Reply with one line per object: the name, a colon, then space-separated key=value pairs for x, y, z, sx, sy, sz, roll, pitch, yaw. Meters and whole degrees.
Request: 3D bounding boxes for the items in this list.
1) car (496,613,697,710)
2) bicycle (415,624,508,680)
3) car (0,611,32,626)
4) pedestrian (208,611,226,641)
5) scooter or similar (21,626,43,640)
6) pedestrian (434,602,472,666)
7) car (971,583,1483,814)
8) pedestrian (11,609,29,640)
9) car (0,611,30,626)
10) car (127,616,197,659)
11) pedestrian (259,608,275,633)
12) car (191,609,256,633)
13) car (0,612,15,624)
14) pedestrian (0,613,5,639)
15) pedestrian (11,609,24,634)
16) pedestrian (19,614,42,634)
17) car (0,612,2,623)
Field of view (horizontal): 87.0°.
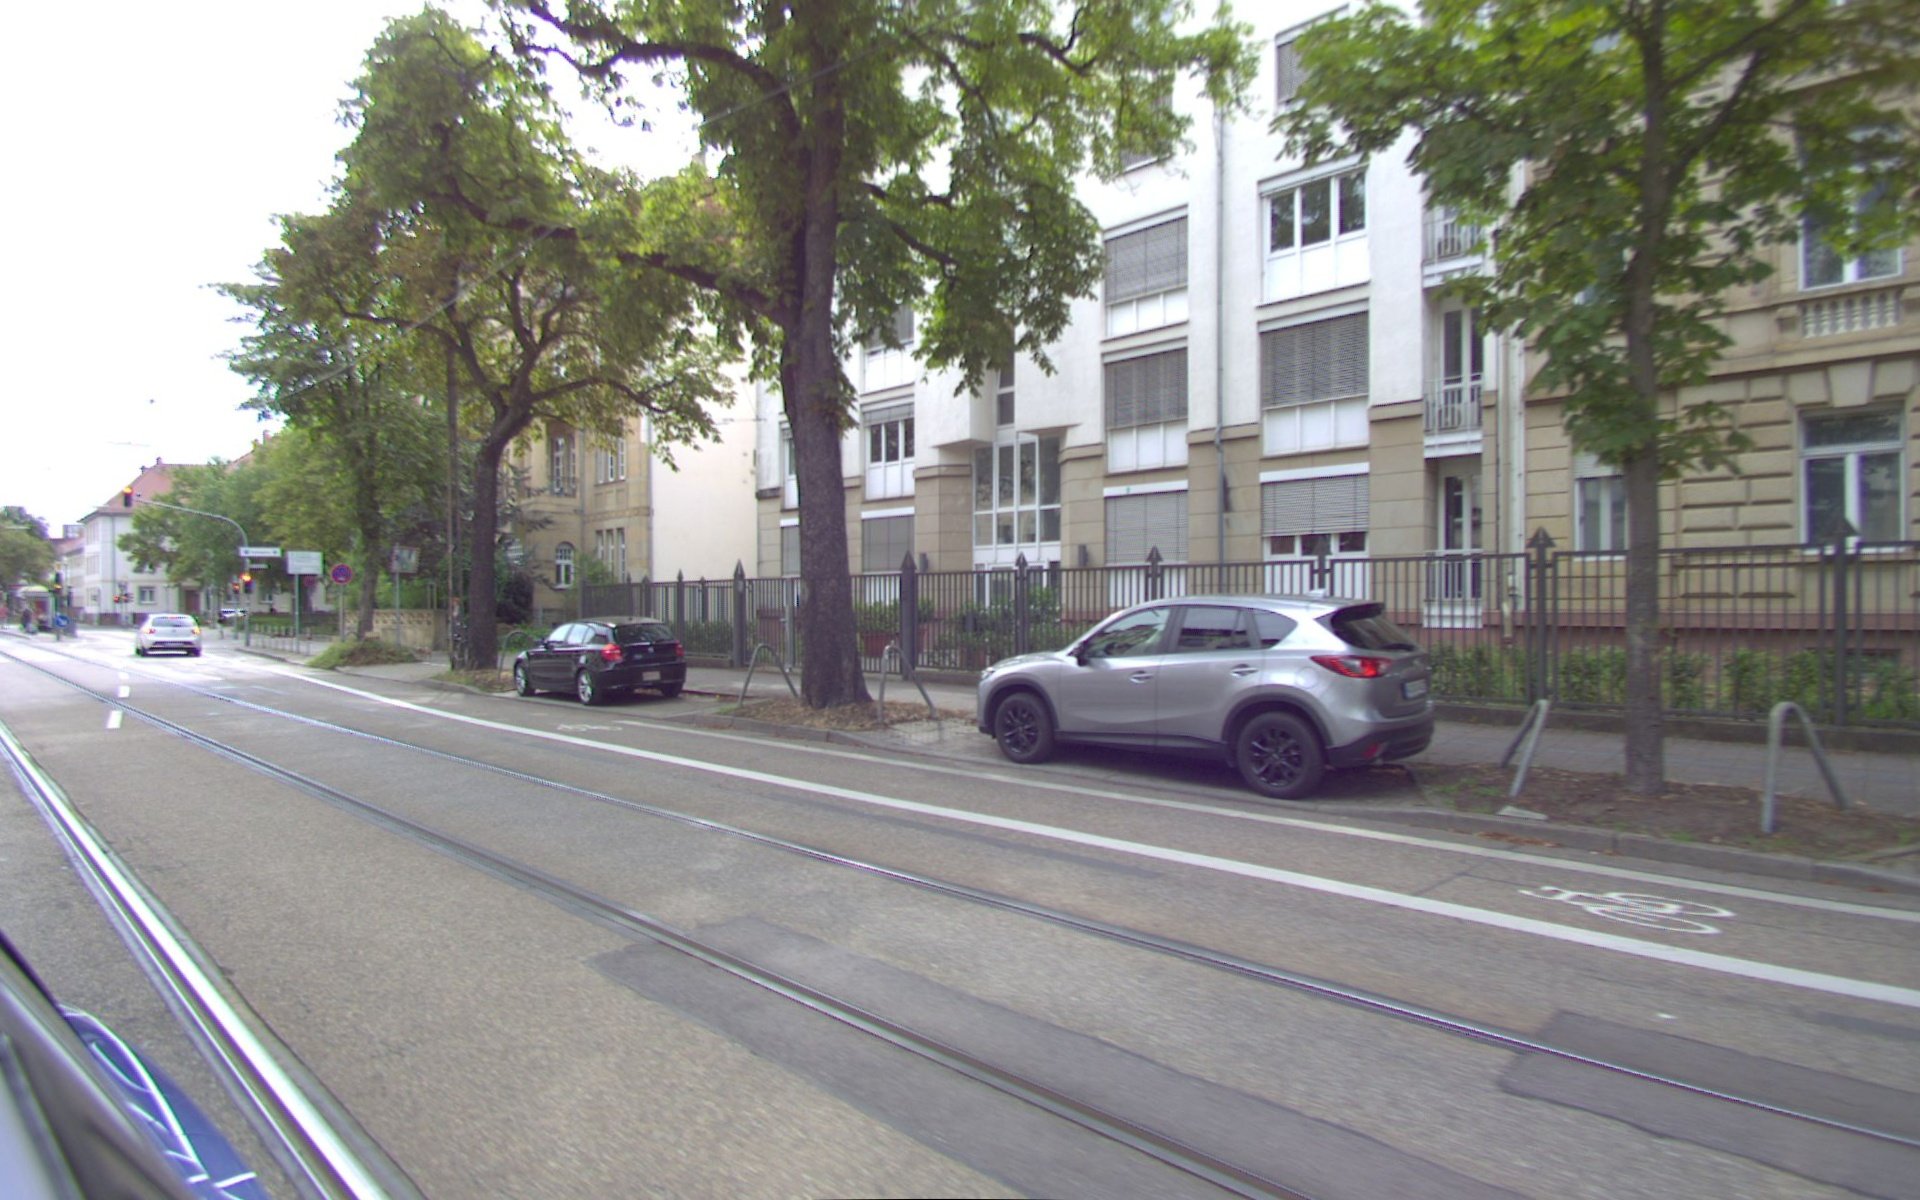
car: x=-6.523 y=0.988 z=17.929 sx=1.701 sy=1.435 sz=4.168 roll=-3 pitch=2 yaw=-45
bicycle: x=-11.815 y=1.209 z=24.096 sx=0.826 sy=1.184 sz=2.229 roll=-1 pitch=0 yaw=10
car: x=-114.289 y=2.265 z=121.618 sx=3.941 sy=1.739 sz=1.878 roll=-1 pitch=0 yaw=-44
pedestrian: x=-41.425 y=1.441 z=56.403 sx=0.711 sy=1.703 sz=0.646 roll=-1 pitch=-1 yaw=39
scooter or similar: x=-50.741 y=1.800 z=55.320 sx=0.659 sy=0.718 sz=0.605 roll=2 pitch=-1 yaw=-15
pedestrian: x=-14.225 y=0.948 z=28.398 sx=0.700 sy=1.748 sz=0.698 roll=-1 pitch=0 yaw=39
car: x=2.284 y=0.733 z=9.487 sx=4.357 sy=1.686 sz=1.692 roll=-1 pitch=0 yaw=43
pedestrian: x=-51.551 y=1.328 z=55.493 sx=0.815 sy=1.703 sz=0.675 roll=-1 pitch=-1 yaw=43
car: x=-120.694 y=2.347 z=128.436 sx=3.941 sy=1.739 sz=1.878 roll=-1 pitch=0 yaw=-44
car: x=-27.882 y=1.283 z=35.338 sx=1.552 sy=1.427 sz=4.004 roll=3 pitch=-3 yaw=-43
pedestrian: x=-58.561 y=1.717 z=85.568 sx=0.850 sy=2.029 sz=0.766 roll=-1 pitch=0 yaw=-12
car: x=-63.263 y=1.773 z=86.959 sx=4.130 sy=1.878 sz=1.858 roll=-1 pitch=0 yaw=-12
car: x=-135.905 y=2.553 z=142.635 sx=3.941 sy=1.739 sz=1.878 roll=-1 pitch=0 yaw=-44
pedestrian: x=-69.084 y=1.884 z=72.636 sx=0.463 sy=1.848 sz=0.651 roll=-1 pitch=0 yaw=30
pedestrian: x=-65.529 y=1.469 z=70.336 sx=0.618 sy=1.716 sz=0.581 roll=-1 pitch=0 yaw=39
pedestrian: x=-59.696 y=1.559 z=65.004 sx=0.723 sy=1.246 sz=1.019 roll=-1 pitch=0 yaw=41
car: x=-150.061 y=2.745 z=155.697 sx=3.941 sy=1.739 sz=1.878 roll=-1 pitch=0 yaw=-44
